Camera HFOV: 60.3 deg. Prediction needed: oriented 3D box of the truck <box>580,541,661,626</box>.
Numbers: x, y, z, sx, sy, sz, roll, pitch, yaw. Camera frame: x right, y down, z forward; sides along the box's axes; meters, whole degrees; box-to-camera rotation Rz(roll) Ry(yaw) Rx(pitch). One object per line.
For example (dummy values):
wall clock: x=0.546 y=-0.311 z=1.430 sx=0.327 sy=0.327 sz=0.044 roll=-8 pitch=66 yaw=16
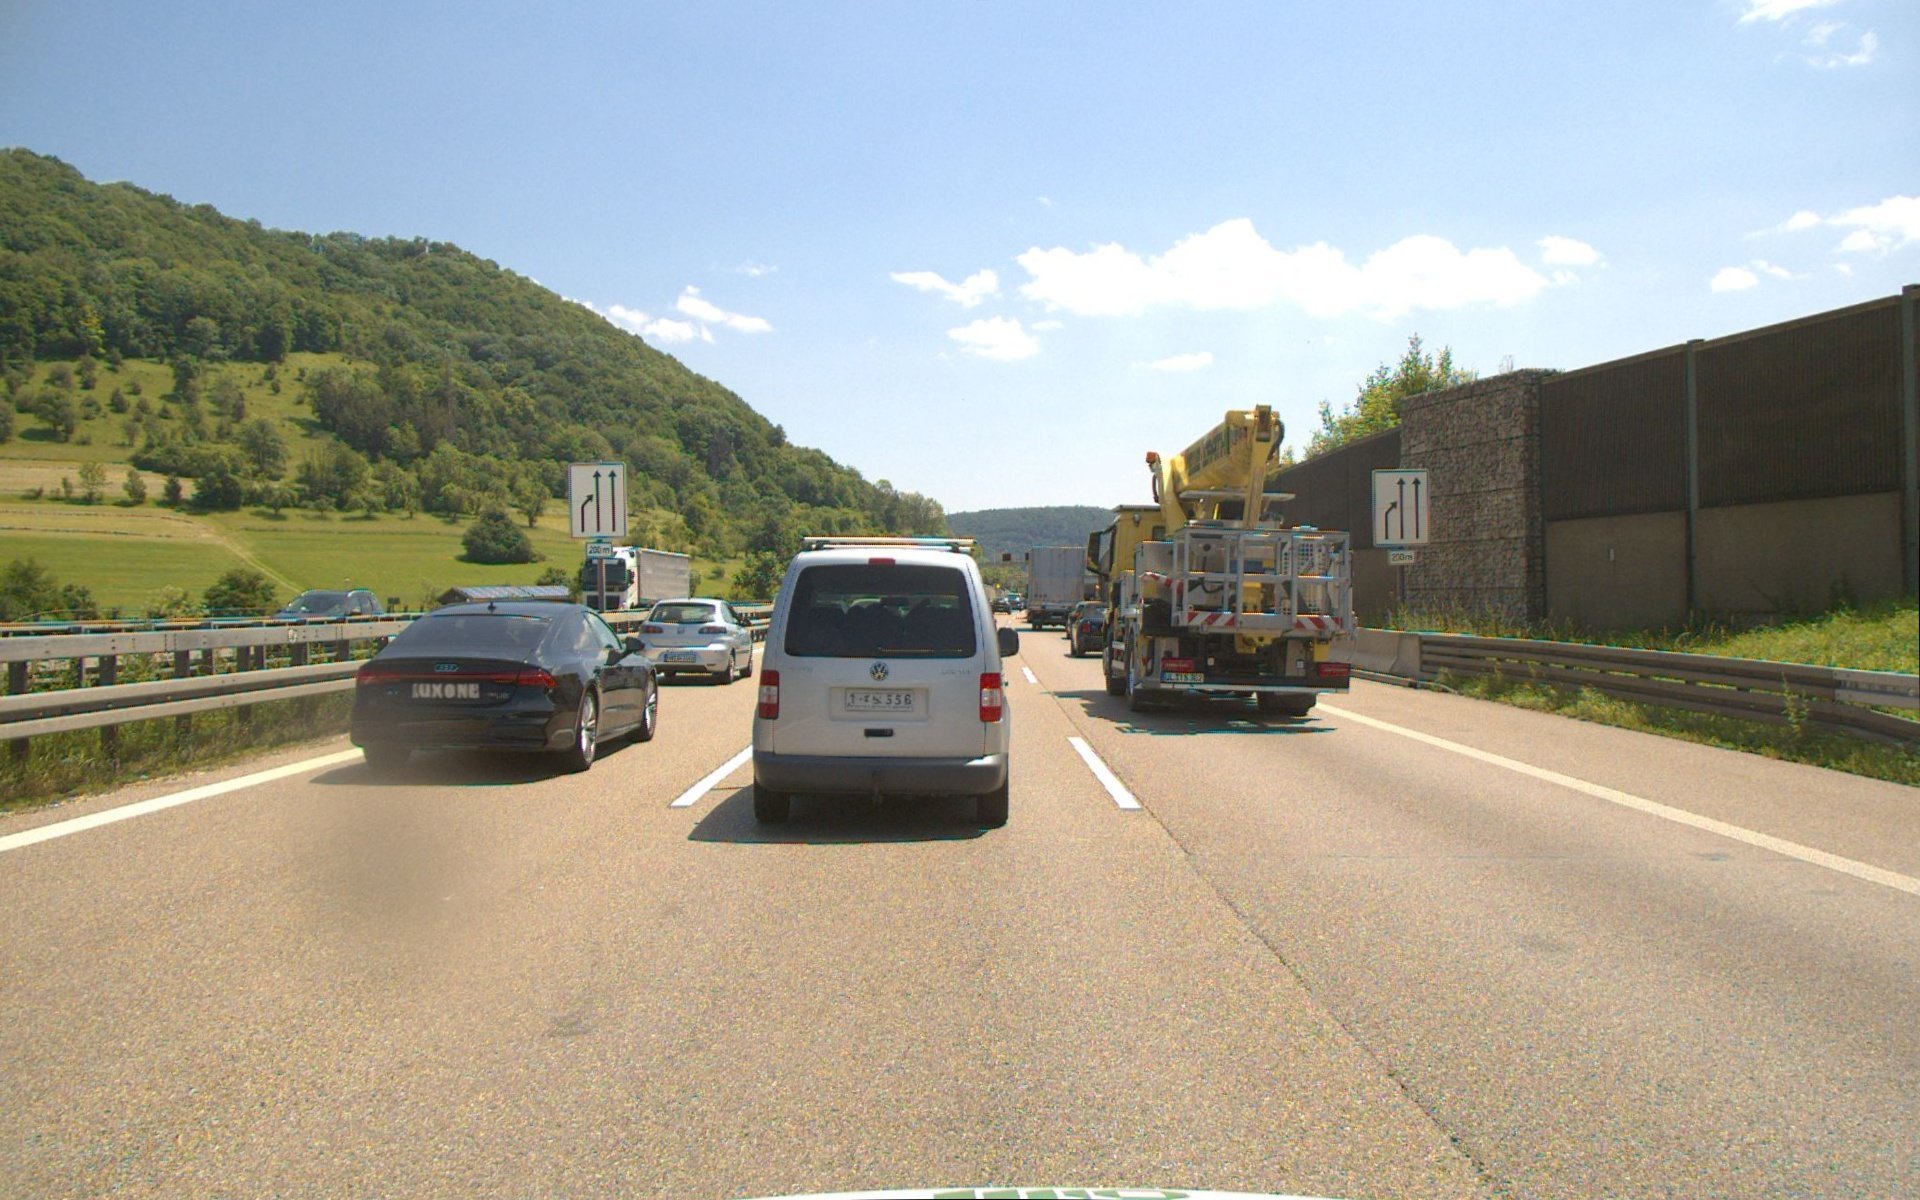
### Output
truck: x=-18.149 y=-0.828 z=88.907 sx=2.740 sy=4.306 sz=7.231 roll=1 pitch=-1 yaw=1

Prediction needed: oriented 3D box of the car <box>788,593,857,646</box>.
car: x=-4.192 y=0.580 z=50.934 sx=1.886 sy=1.525 sz=3.998 roll=1 pitch=0 yaw=-2

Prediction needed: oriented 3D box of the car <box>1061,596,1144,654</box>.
car: x=3.744 y=0.629 z=43.987 sx=1.750 sy=1.484 sz=3.769 roll=0 pitch=0 yaw=-2

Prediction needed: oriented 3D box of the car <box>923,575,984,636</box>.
car: x=-0.266 y=0.179 z=56.338 sx=1.953 sy=2.010 sz=3.998 roll=0 pitch=0 yaw=-2

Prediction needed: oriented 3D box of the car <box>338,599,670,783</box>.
car: x=-3.962 y=0.705 z=15.296 sx=1.764 sy=1.415 sz=4.968 roll=0 pitch=0 yaw=-1

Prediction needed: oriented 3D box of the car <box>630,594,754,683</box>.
car: x=-4.663 y=0.634 z=29.216 sx=1.661 sy=1.470 sz=3.860 roll=0 pitch=0 yaw=-2

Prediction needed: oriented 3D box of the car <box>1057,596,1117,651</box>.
car: x=4.858 y=0.864 z=63.730 sx=1.953 sy=2.049 sz=3.999 roll=0 pitch=0 yaw=-1

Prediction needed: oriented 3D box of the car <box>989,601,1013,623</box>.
car: x=3.443 y=0.999 z=139.182 sx=1.952 sy=1.779 sz=4.000 roll=1 pitch=0 yaw=1

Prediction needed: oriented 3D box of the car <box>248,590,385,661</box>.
car: x=-15.708 y=0.587 z=40.607 sx=1.812 sy=1.638 sz=4.078 roll=0 pitch=0 yaw=-1

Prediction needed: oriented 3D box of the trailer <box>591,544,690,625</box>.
trailer: x=-18.067 y=-0.785 z=94.564 sx=2.796 sy=4.264 sz=13.615 roll=1 pitch=0 yaw=1

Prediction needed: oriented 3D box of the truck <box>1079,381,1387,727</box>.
truck: x=3.490 y=-0.535 z=23.594 sx=2.649 sy=4.011 sz=8.718 roll=0 pitch=0 yaw=-2

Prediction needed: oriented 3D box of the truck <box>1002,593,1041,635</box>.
truck: x=3.991 y=0.870 z=106.257 sx=2.340 sy=2.585 sz=5.942 roll=0 pitch=0 yaw=3

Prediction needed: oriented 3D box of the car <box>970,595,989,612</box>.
car: x=2.065 y=0.390 z=175.815 sx=1.953 sy=1.837 sz=3.999 roll=1 pitch=0 yaw=-1

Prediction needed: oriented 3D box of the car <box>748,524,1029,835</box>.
car: x=-0.510 y=0.485 z=12.152 sx=1.721 sy=1.900 sz=3.998 roll=0 pitch=0 yaw=-2

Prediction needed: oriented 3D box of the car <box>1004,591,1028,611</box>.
car: x=5.465 y=0.099 z=162.498 sx=2.072 sy=1.859 sz=3.998 roll=1 pitch=0 yaw=-3

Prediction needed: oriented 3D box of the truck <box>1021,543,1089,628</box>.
truck: x=4.570 y=-0.635 z=80.975 sx=2.880 sy=3.890 sz=8.236 roll=1 pitch=0 yaw=0
